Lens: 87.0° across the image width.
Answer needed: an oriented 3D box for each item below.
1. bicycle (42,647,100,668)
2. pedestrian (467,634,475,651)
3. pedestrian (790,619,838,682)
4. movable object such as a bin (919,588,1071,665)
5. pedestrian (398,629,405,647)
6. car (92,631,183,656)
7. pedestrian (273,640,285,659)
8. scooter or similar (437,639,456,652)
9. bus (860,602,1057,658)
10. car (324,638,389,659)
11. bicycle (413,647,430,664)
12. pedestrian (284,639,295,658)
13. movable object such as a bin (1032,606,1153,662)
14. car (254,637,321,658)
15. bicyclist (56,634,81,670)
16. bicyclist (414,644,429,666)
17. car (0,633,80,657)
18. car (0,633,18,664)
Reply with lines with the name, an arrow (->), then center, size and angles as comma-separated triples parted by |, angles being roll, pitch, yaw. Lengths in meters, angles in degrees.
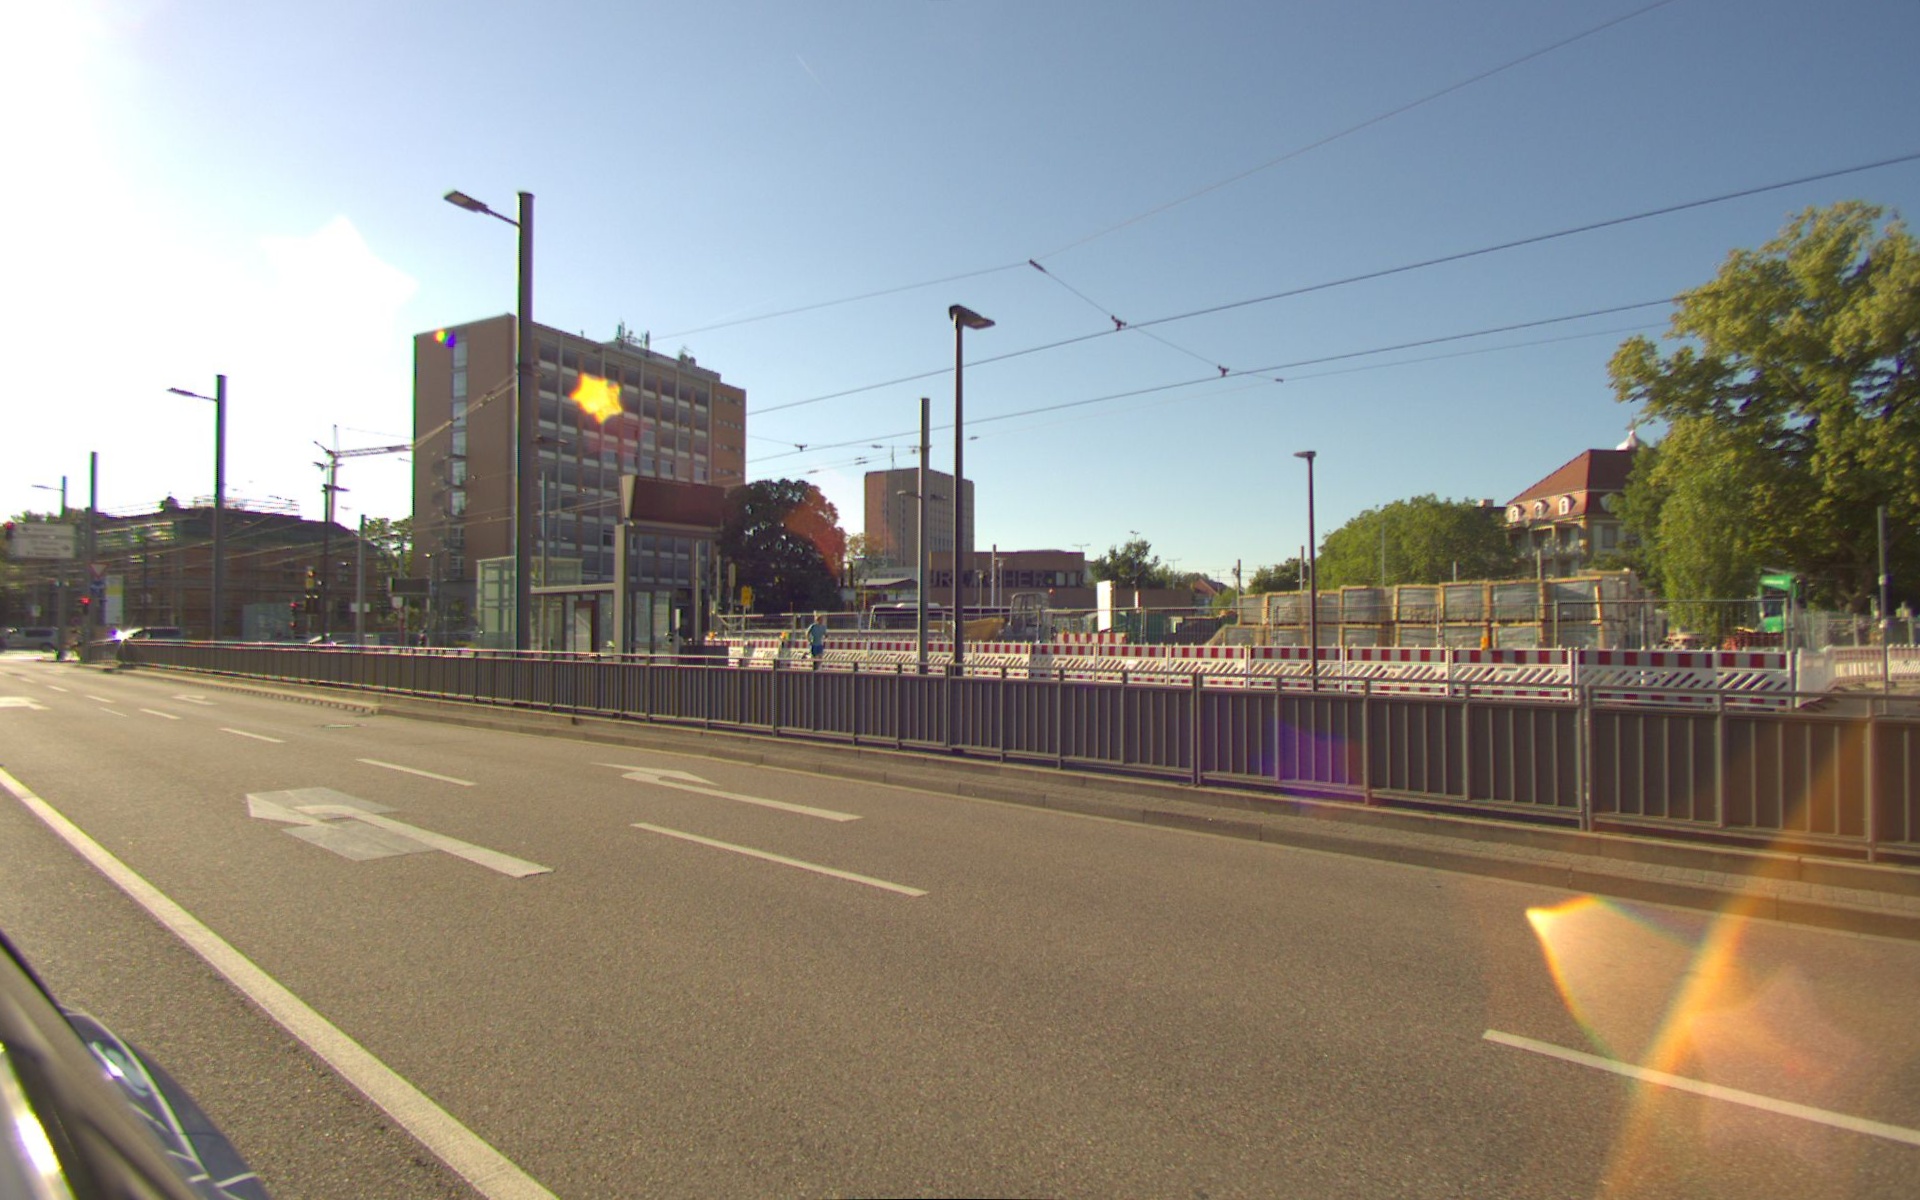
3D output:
bicycle -> -41.284, 2.685, 47.007 | 0.814, 0.949, 1.872 | -1, -4, 36
pedestrian -> -49.795, 4.354, 103.137 | 0.614, 1.725, 0.487 | 0, -5, -14
pedestrian -> -4.272, 1.491, 29.526 | 1.179, 1.782, 0.793 | -6, -6, 41
movable object such as a bin -> 1.324, 1.085, 38.150 | 5.137, 2.545, 2.614 | -4, -5, 23
pedestrian -> -51.986, 3.526, 94.214 | 0.496, 1.648, 0.428 | 3, -6, -41
car -> -57.892, 3.022, 71.285 | 1.994, 1.701, 4.565 | -1, -2, 33
pedestrian -> -62.465, 4.509, 92.811 | 0.612, 1.753, 0.666 | 1, -1, -7
scooter or similar -> -52.306, 4.635, 103.090 | 1.691, 1.257, 0.796 | -3, -5, 14
bus -> -0.178, 1.955, 65.564 | 12.467, 3.219, 2.844 | -1, -5, -5
car -> -51.649, 4.179, 86.658 | 4.628, 1.697, 2.005 | 2, -6, -34
bicycle -> -34.603, 3.552, 65.033 | 0.802, 0.949, 2.007 | 0, 0, -33
pedestrian -> -62.017, 4.504, 93.578 | 0.721, 1.753, 0.623 | 2, -2, -38
movable object such as a bin -> 4.246, 1.157, 32.844 | 3.862, 1.599, 1.161 | -5, -6, 40
car -> -57.613, 4.069, 86.790 | 4.627, 1.697, 2.006 | 1, -5, -31
bicyclist -> -41.345, 2.410, 46.940 | 0.814, 1.629, 0.668 | -1, -4, 36
bicyclist -> -34.604, 3.551, 65.028 | 0.802, 1.355, 0.904 | 0, 0, -33
car -> -69.553, 3.400, 76.164 | 4.626, 1.697, 2.006 | 1, -5, -29
car -> -67.745, 3.284, 68.409 | 1.997, 2.029, 5.692 | -5, -6, 38
